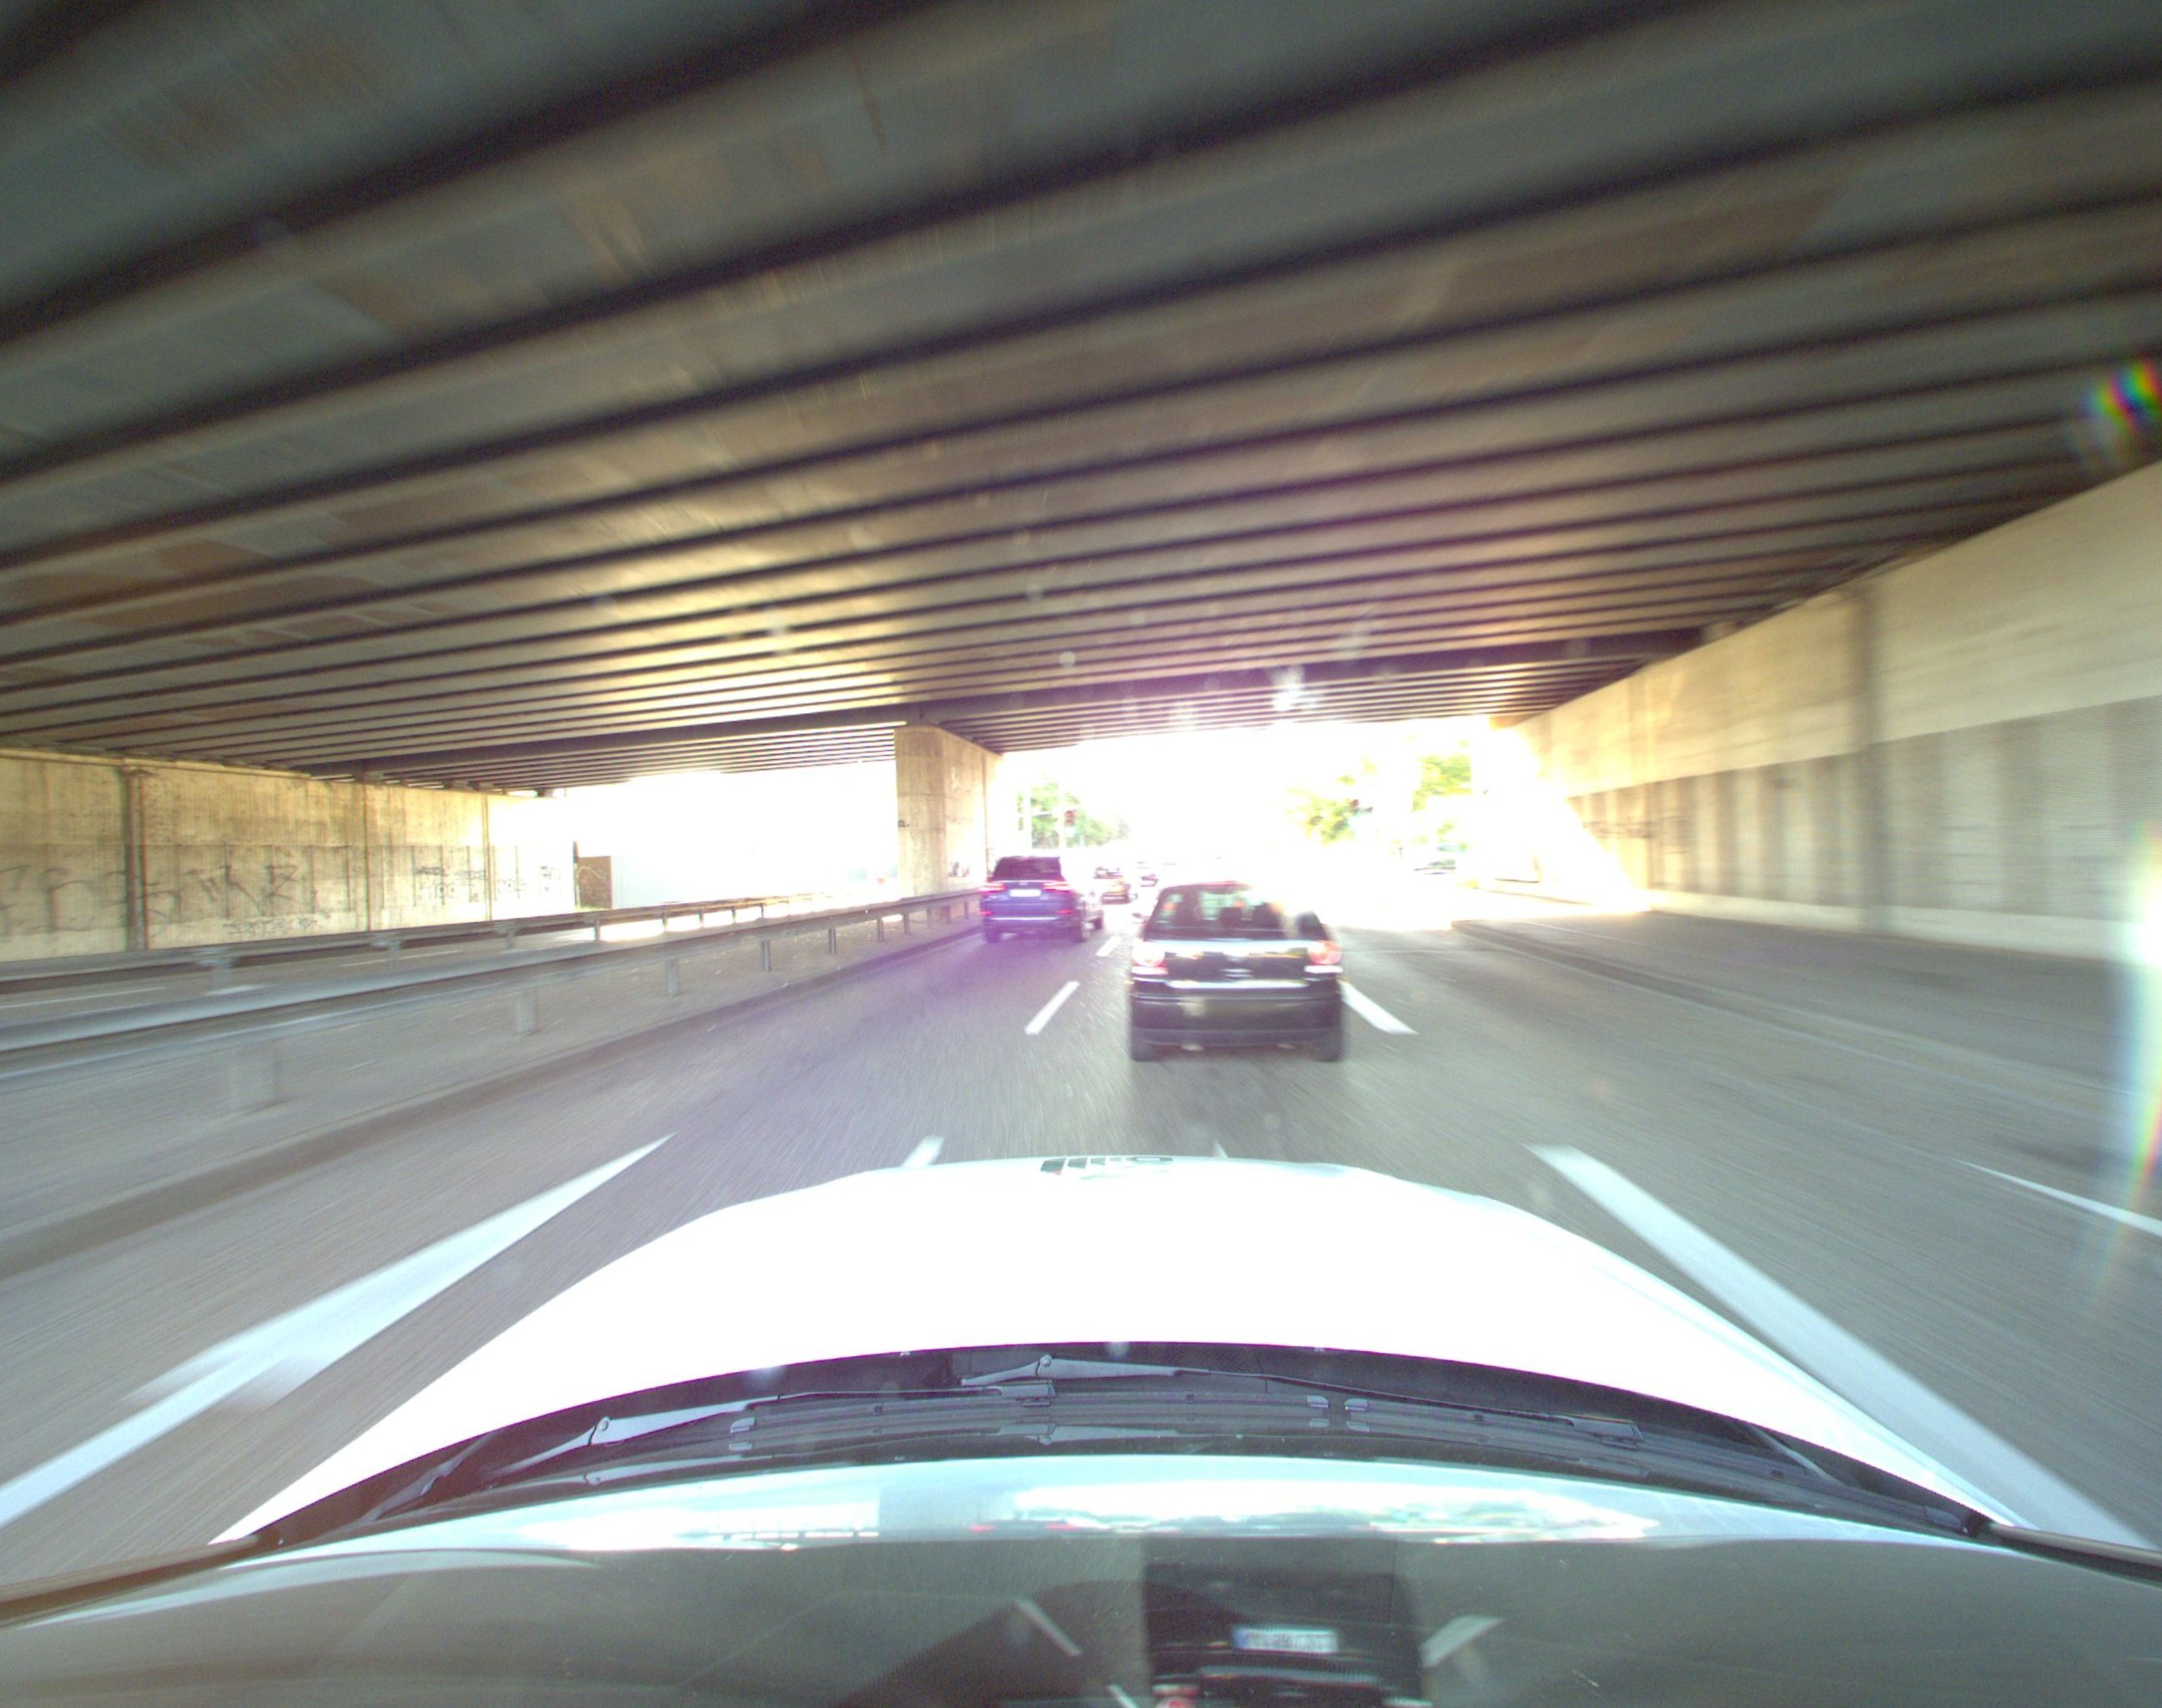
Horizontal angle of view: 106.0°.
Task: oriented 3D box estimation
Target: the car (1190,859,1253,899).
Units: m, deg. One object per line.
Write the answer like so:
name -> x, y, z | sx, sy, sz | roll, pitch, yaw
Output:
car -> 4.902, 0.845, 28.385 | 1.981, 1.295, 4.011 | -1, -1, 10

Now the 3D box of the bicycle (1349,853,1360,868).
bicycle -> 21.139, 0.510, 62.945 | 0.561, 1.112, 1.626 | -1, -1, 10

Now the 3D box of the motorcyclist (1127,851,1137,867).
motorcyclist -> 4.686, 0.461, 74.883 | 0.794, 1.349, 1.276 | -4, 1, 3

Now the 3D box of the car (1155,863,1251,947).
car -> 2.251, 0.881, 15.799 | 1.571, 1.413, 4.067 | -1, -1, 5

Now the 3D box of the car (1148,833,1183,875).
car -> 5.418, 0.043, 52.340 | 2.126, 2.576, 5.094 | -1, -1, 5

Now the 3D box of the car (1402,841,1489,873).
car -> 19.171, 0.134, 42.907 | 4.059, 1.630, 1.732 | 0, -1, -17

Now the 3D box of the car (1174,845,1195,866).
car -> 8.570, 0.172, 67.443 | 1.607, 1.679, 3.692 | -1, -1, 9

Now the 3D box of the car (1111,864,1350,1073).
car -> 1.282, 0.806, 7.448 | 1.607, 1.410, 3.691 | -1, -1, 8

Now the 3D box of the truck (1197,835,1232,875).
truck -> 8.075, 0.066, 49.214 | 1.984, 2.315, 4.011 | -1, -1, 10

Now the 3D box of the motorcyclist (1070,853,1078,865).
motorcyclist -> -0.798, 0.632, 95.890 | 0.676, 1.424, 0.871 | -1, -1, 14

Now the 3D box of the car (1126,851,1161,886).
car -> 3.142, 0.702, 40.522 | 1.608, 1.679, 3.688 | -1, -1, 6

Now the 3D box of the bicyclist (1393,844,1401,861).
bicyclist -> 24.164, -0.094, 62.261 | 0.425, 1.309, 0.461 | -1, -1, 10

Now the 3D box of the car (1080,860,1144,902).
car -> 1.162, 0.917, 28.794 | 1.605, 1.410, 3.695 | -1, -1, 12

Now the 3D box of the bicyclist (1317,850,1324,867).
bicyclist -> 17.927, 0.354, 61.003 | 0.425, 1.233, 0.461 | -2, -1, 10

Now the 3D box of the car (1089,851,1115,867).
car -> 2.055, 0.516, 78.330 | 1.982, 1.475, 4.091 | 0, -1, 9

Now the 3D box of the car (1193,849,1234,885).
car -> 6.274, 0.604, 38.263 | 1.785, 1.559, 4.011 | -1, -1, 10

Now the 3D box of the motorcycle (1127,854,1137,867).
motorcycle -> 4.674, 0.620, 74.833 | 0.836, 1.076, 2.403 | -4, 0, 3

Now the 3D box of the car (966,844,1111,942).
car -> -0.689, 0.721, 16.809 | 1.981, 1.734, 4.545 | -1, -1, 10

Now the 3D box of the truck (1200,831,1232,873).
truck -> 8.975, -0.091, 54.128 | 1.984, 2.669, 4.011 | -1, -1, 10

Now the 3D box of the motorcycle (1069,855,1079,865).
motorcycle -> -0.787, 0.750, 95.960 | 0.675, 1.156, 2.247 | -1, -1, 14

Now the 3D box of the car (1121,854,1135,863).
car -> 8.760, 0.817, 152.101 | 1.982, 1.400, 4.359 | -6, -1, 9

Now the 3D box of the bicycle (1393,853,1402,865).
bicycle -> 24.165, 0.351, 62.211 | 0.434, 0.914, 1.029 | -1, -1, 10

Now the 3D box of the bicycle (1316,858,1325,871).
bicycle -> 17.936, 0.794, 60.986 | 0.435, 0.914, 1.029 | -4, -1, 10

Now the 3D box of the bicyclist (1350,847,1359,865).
bicyclist -> 21.148, 0.160, 62.996 | 0.540, 1.316, 0.838 | -1, -1, 10
